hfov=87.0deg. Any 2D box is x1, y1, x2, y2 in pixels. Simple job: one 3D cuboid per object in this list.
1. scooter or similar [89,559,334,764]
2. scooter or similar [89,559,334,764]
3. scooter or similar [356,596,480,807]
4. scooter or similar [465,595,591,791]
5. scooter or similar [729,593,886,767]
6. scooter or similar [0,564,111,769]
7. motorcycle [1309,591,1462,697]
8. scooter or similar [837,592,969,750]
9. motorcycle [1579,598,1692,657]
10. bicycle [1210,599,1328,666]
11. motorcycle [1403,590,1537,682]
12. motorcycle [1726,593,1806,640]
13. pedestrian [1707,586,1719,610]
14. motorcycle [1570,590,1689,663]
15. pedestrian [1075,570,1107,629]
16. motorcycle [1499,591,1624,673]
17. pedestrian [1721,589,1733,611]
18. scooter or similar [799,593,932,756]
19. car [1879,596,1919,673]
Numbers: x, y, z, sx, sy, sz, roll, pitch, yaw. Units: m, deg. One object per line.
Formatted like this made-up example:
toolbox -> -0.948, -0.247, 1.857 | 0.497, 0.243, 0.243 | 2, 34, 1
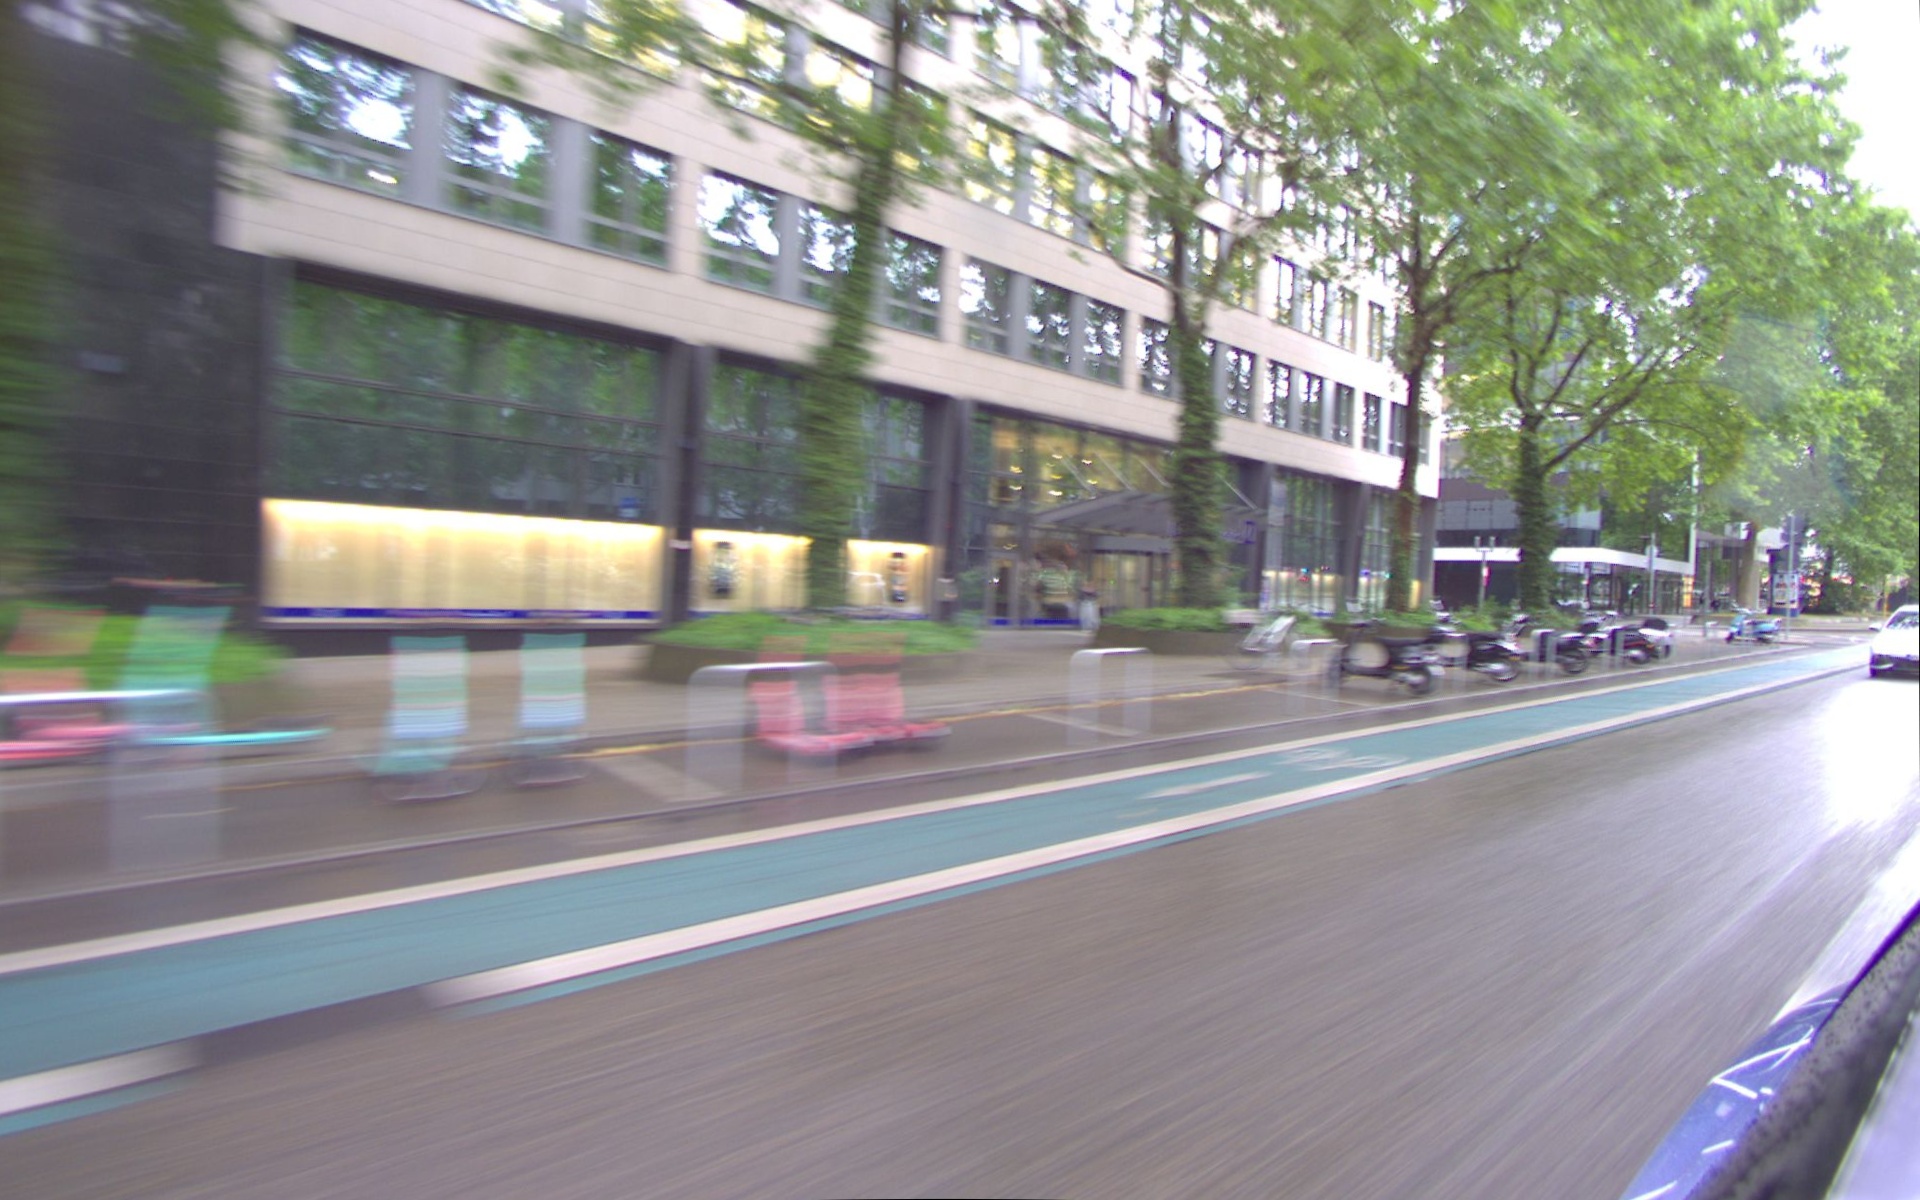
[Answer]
scooter or similar -> -5.108, 0.397, 6.945 | 1.271, 1.275, 0.488 | 2, 1, -41
scooter or similar -> -5.108, 0.397, 6.945 | 1.271, 1.275, 0.488 | 2, 1, -41
scooter or similar -> -3.738, 0.637, 6.941 | 0.480, 1.251, 1.293 | 3, 1, -38
scooter or similar -> -3.190, 0.628, 7.426 | 0.480, 1.251, 1.293 | 3, 1, -38
scooter or similar -> -1.303, 0.627, 8.526 | 1.287, 1.294, 0.529 | 4, 1, 39
scooter or similar -> -6.261, 0.408, 6.437 | 1.271, 1.275, 0.488 | 2, 1, -41
motorcycle -> 6.318, 0.615, 15.072 | 1.948, 1.391, 0.720 | 4, 1, 34
scooter or similar -> -0.549, 0.613, 9.302 | 0.527, 1.294, 1.293 | 3, 1, -36
motorcycle -> 15.987, 0.638, 23.997 | 2.030, 1.227, 0.682 | 3, 3, 14
bicycle -> 5.032, 0.521, 16.519 | 1.726, 1.041, 0.640 | 1, 0, -12
motorcycle -> 8.678, 0.585, 17.263 | 1.944, 1.391, 0.722 | 4, 1, 29
motorcycle -> 26.051, 0.524, 32.730 | 1.908, 1.383, 0.685 | 3, 3, 0
pedestrian -> 58.703, -0.163, 78.888 | 0.692, 1.881, 0.523 | -1, 4, -41
motorcycle -> 14.618, 0.561, 22.181 | 2.042, 1.446, 0.722 | 4, 1, 29
pedestrian -> 3.935, -0.021, 30.451 | 0.813, 1.714, 0.729 | 2, 1, 2
motorcycle -> 11.424, 0.585, 19.310 | 1.944, 1.391, 0.722 | 4, 1, 29
pedestrian -> 59.391, 0.021, 78.372 | 0.707, 1.645, 0.527 | -1, 4, -41
scooter or similar -> -0.866, 0.618, 9.001 | 0.527, 1.294, 1.293 | 3, 1, -36
car -> 20.170, 0.668, 20.535 | 3.727, 1.490, 1.794 | 0, 0, -40
